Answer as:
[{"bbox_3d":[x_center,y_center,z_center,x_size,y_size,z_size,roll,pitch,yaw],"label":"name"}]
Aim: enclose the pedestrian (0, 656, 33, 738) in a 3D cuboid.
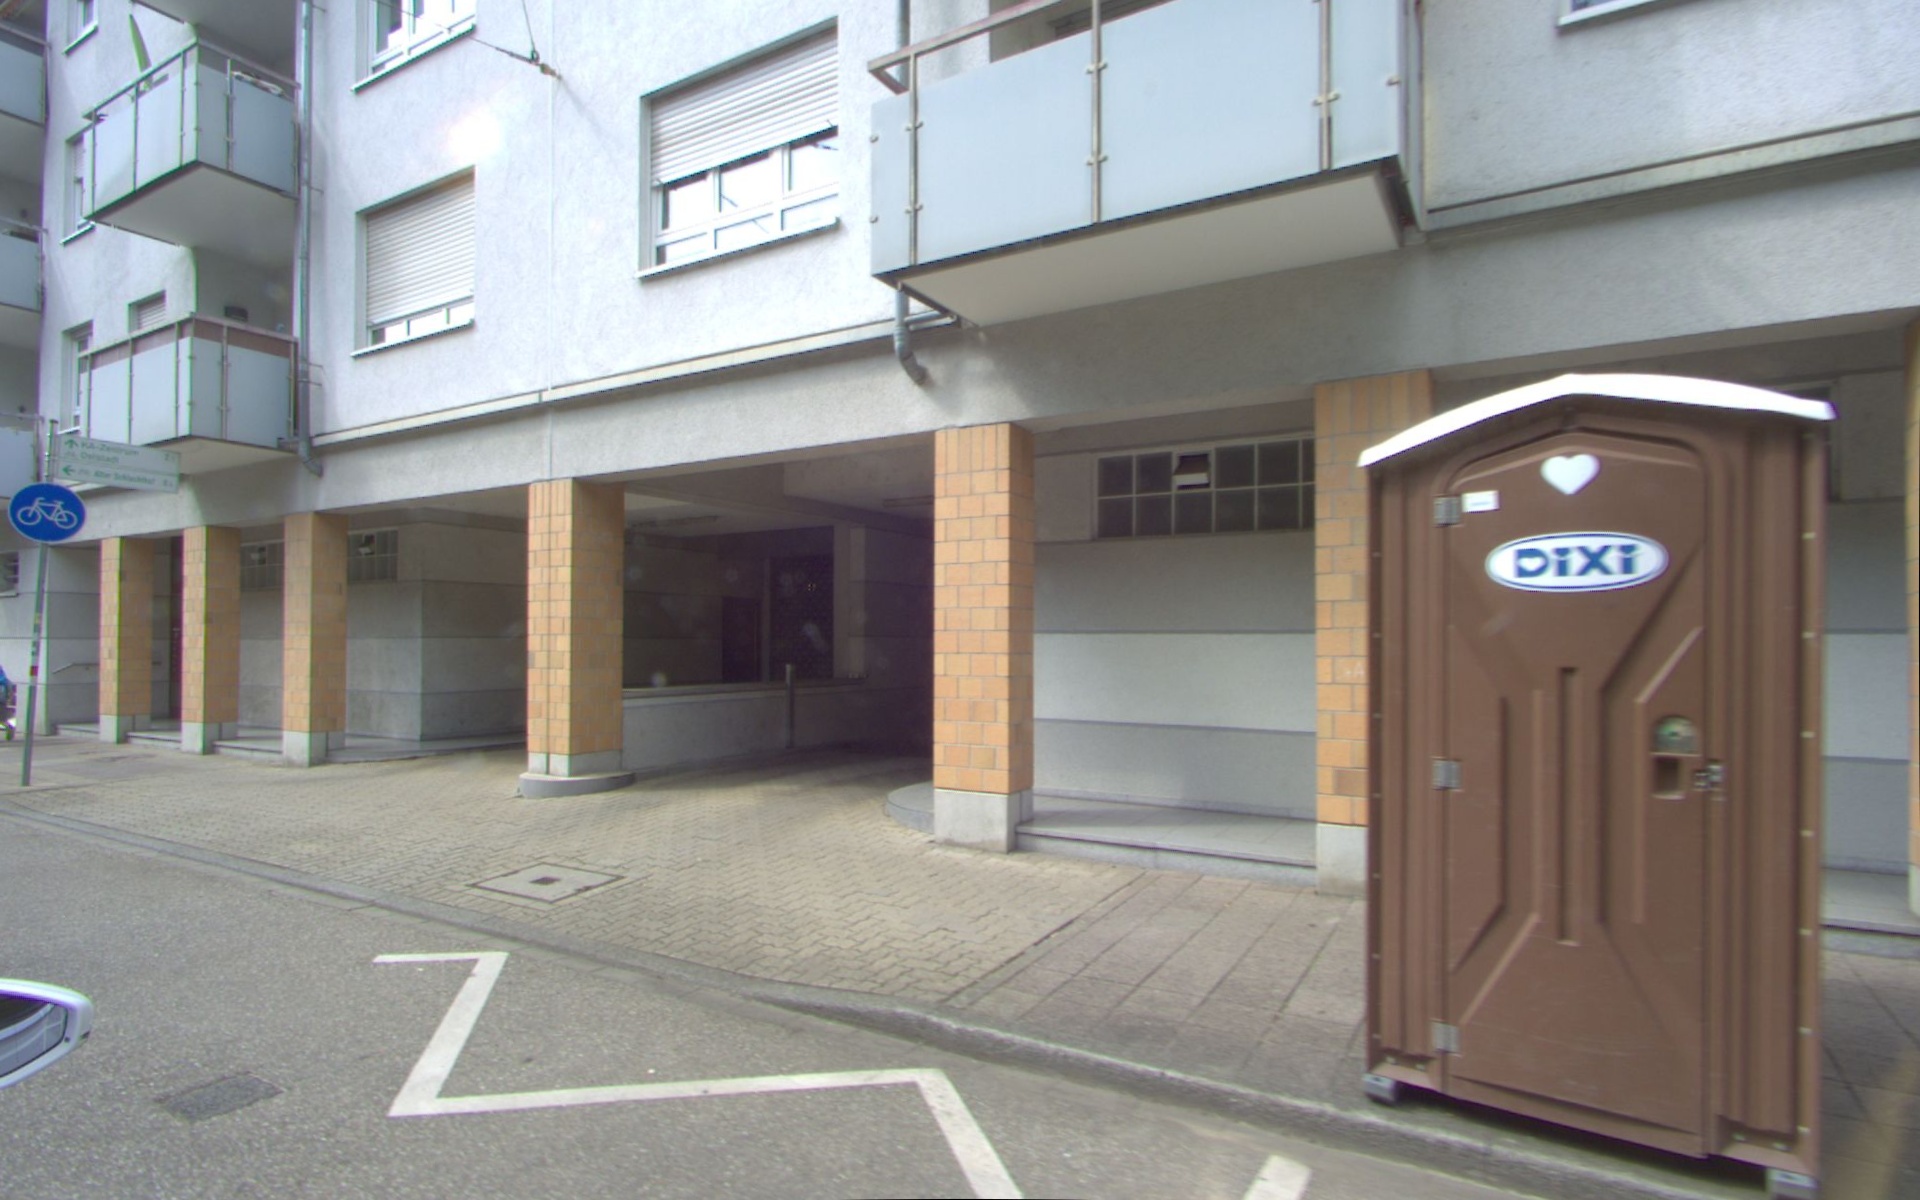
[{"bbox_3d":[-13.794,1.393,14.485,0.487,1.149,0.455,-1,-1,32],"label":"pedestrian"}]
